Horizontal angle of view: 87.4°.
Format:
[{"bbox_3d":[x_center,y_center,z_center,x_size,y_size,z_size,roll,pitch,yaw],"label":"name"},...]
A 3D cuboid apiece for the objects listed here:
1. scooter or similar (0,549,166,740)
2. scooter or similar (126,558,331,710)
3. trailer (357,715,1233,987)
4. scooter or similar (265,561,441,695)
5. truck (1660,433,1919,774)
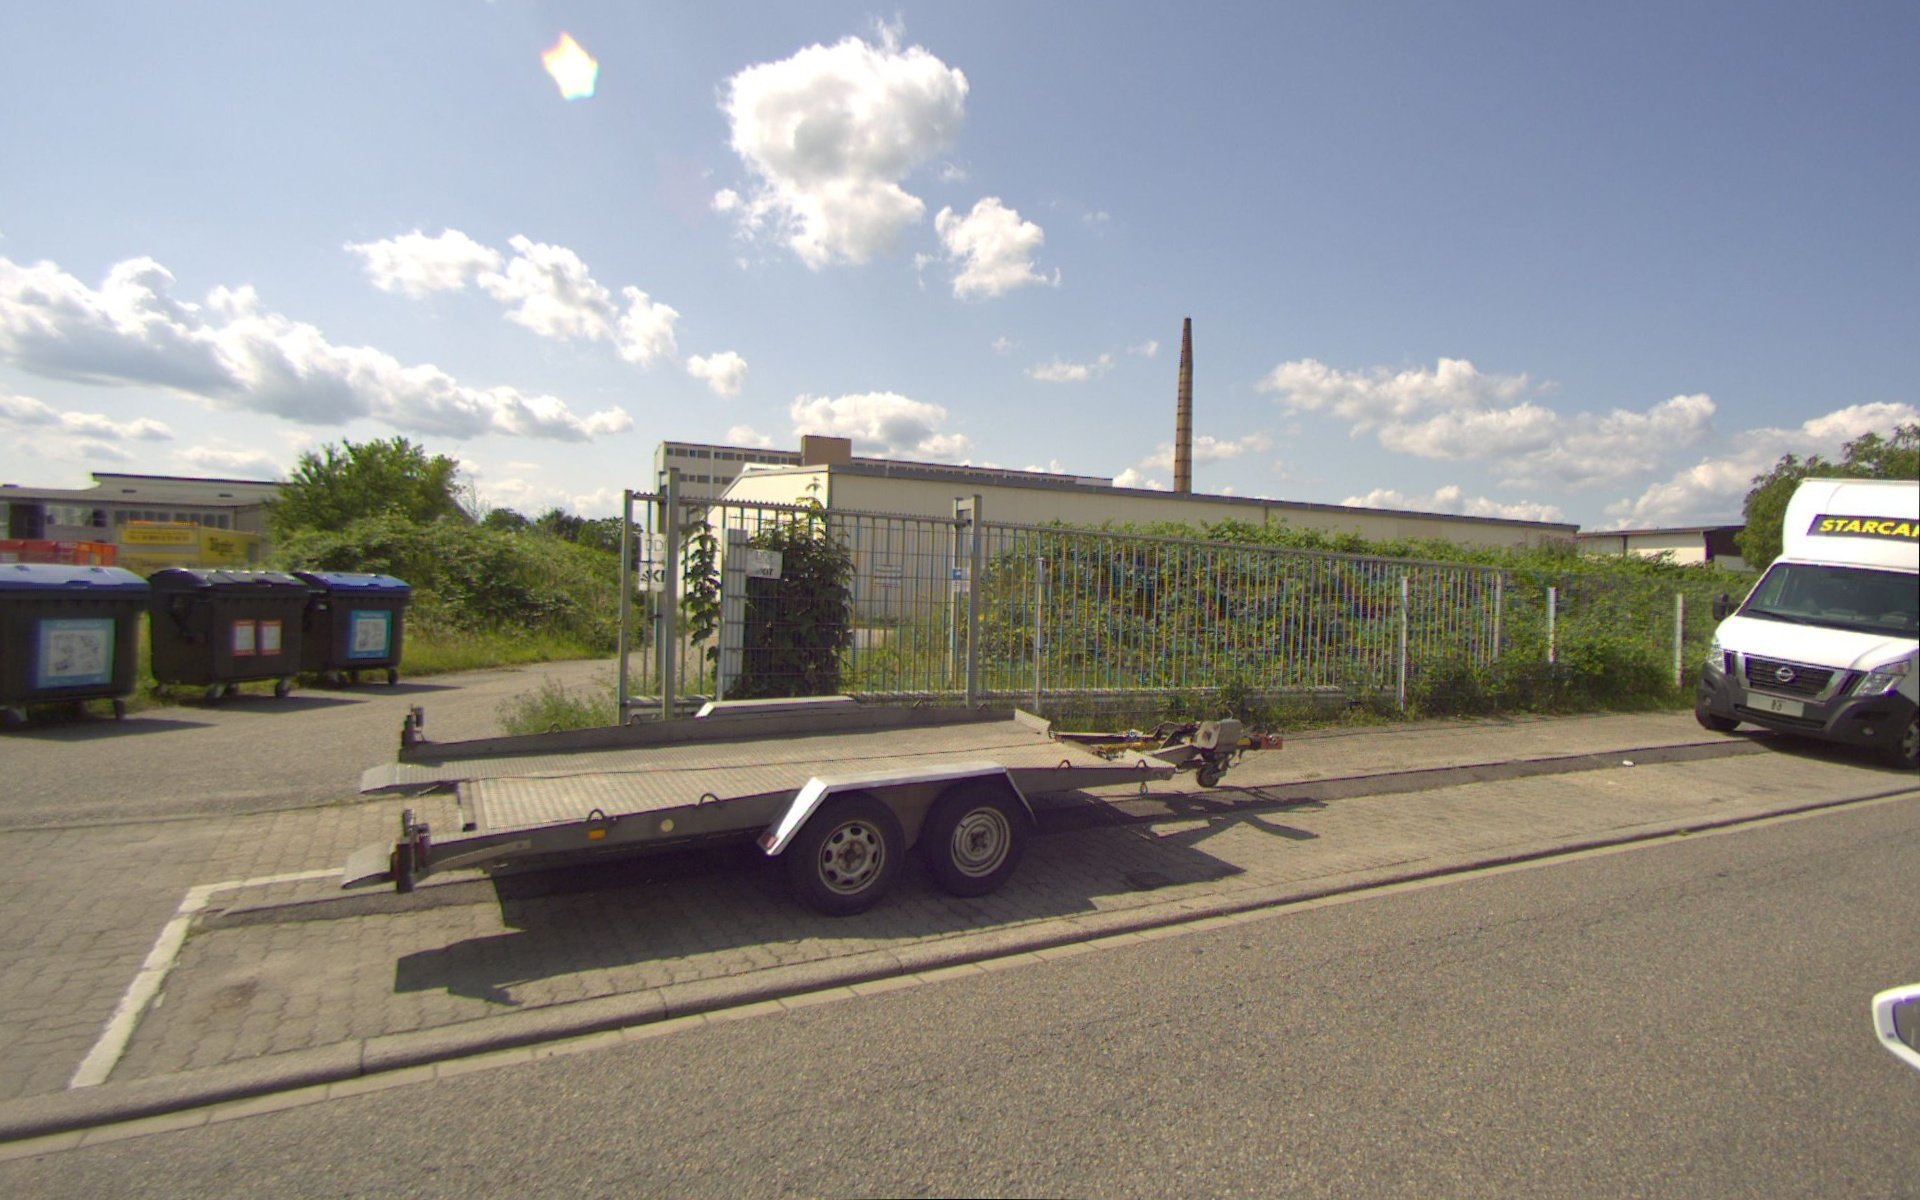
[{"bbox_3d":[-8.442,0.364,9.265,1.147,1.608,1.320,1,1,17],"label":"scooter or similar"},{"bbox_3d":[-8.158,0.347,11.276,1.147,1.558,1.450,1,0,17],"label":"scooter or similar"},{"bbox_3d":[-0.843,1.144,5.719,4.393,0.559,2.224,1,0,-31],"label":"trailer"},{"bbox_3d":[-7.866,0.334,13.094,1.147,1.608,1.586,1,0,17],"label":"scooter or similar"},{"bbox_3d":[11.978,-0.007,12.707,6.826,3.407,2.238,1,5,-31],"label":"truck"}]
